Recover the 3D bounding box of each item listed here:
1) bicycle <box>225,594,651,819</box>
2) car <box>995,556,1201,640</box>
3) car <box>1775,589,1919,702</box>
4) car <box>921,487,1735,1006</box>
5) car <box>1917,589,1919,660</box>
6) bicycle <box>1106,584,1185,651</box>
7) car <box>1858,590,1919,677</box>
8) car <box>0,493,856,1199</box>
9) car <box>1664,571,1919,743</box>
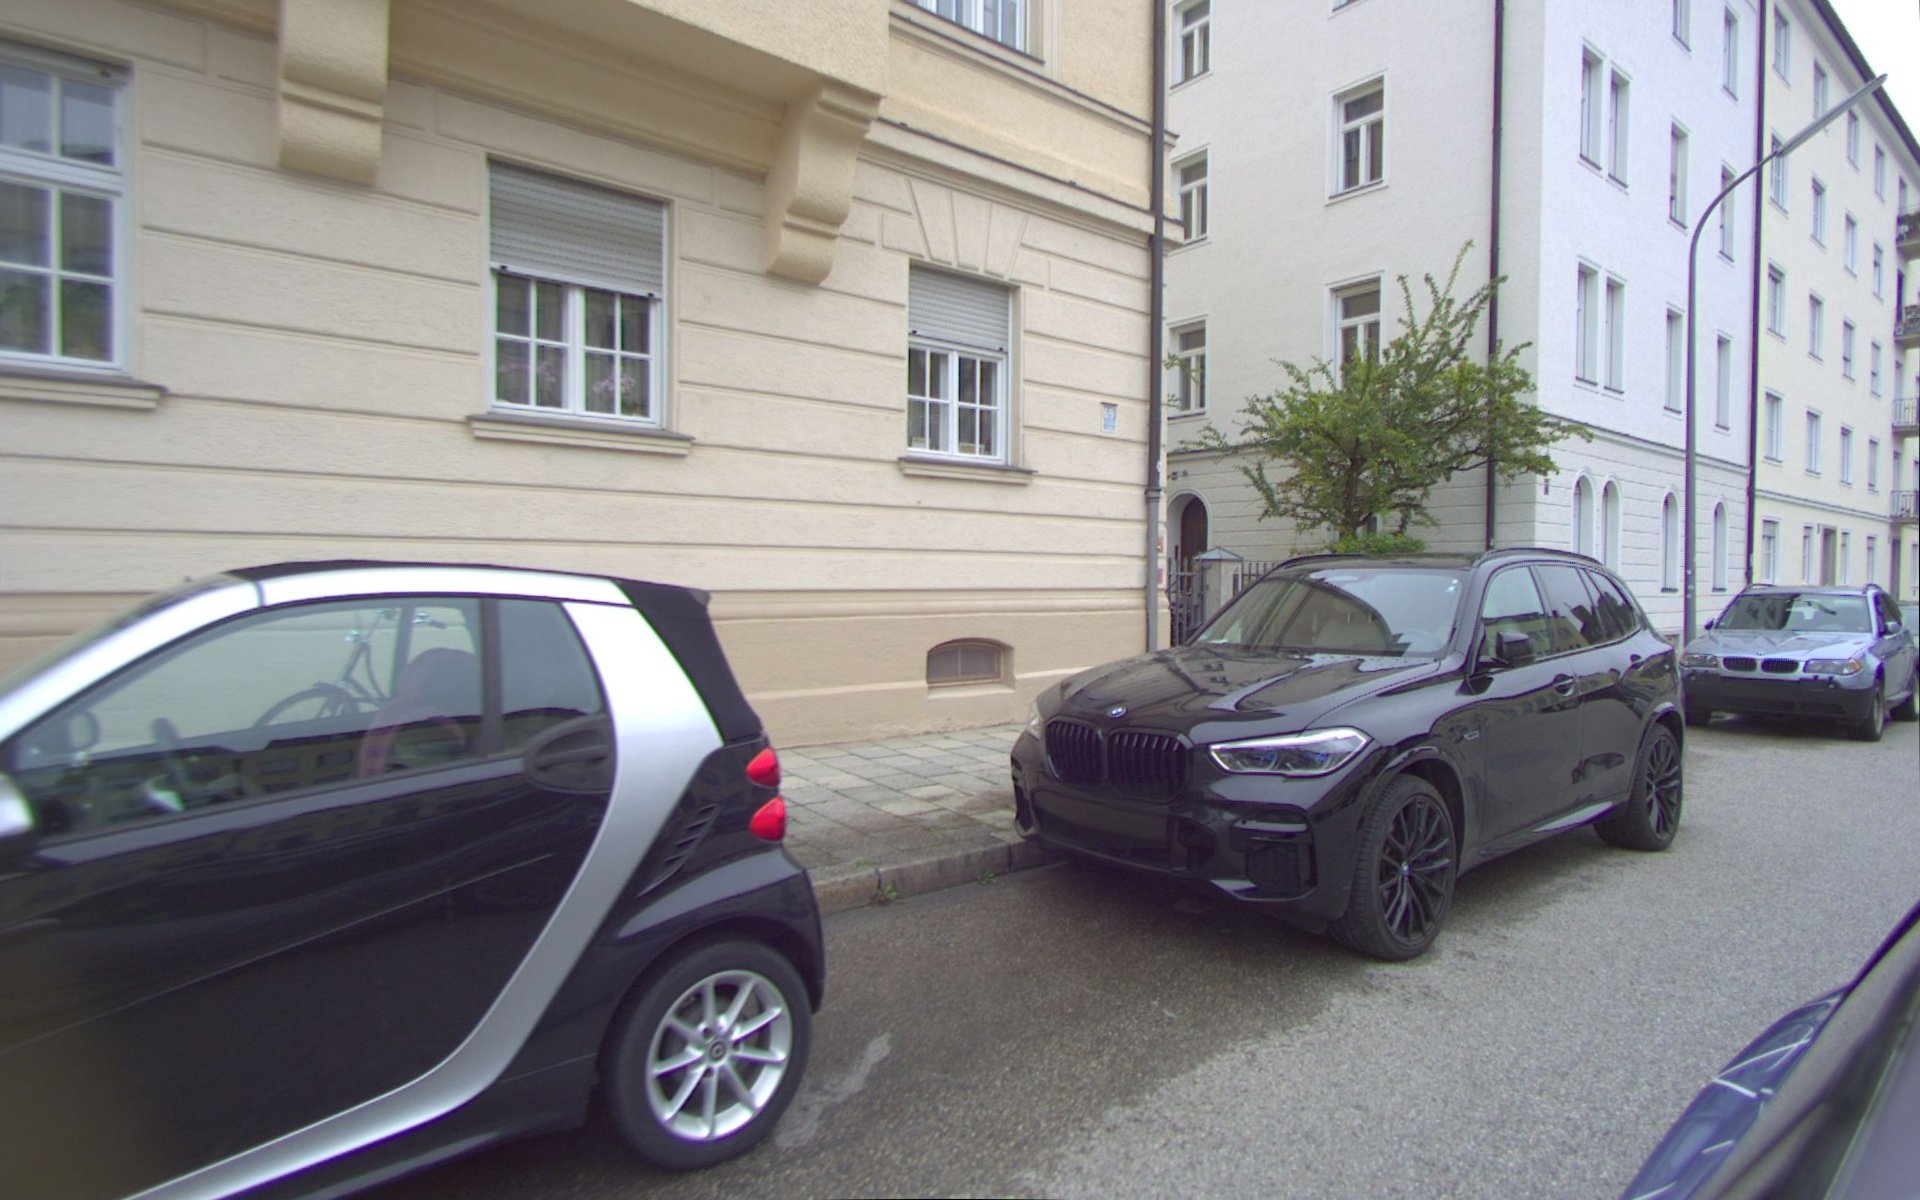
[{"bbox_3d":[-2.893,0.518,5.773,2.098,1.061,0.503,0,4,-37],"label":"bicycle"},{"bbox_3d":[2.767,-0.101,19.887,3.930,1.475,1.861,-2,2,-40],"label":"car"},{"bbox_3d":[13.773,0.582,14.993,4.010,1.468,1.832,0,1,-39],"label":"car"},{"bbox_3d":[2.397,0.473,5.838,4.932,1.761,2.175,0,1,-38],"label":"car"},{"bbox_3d":[21.800,0.504,21.467,4.113,1.468,1.728,0,1,-40],"label":"car"},{"bbox_3d":[3.143,0.271,17.203,0.721,1.074,1.177,0,2,-32],"label":"bicycle"},{"bbox_3d":[18.010,0.554,18.347,4.593,1.468,1.880,0,1,-39],"label":"car"},{"bbox_3d":[-1.918,0.592,2.525,2.963,1.574,1.518,0,0,-38],"label":"car"},{"bbox_3d":[10.193,0.521,12.079,4.418,1.684,1.850,-1,1,-40],"label":"car"}]
